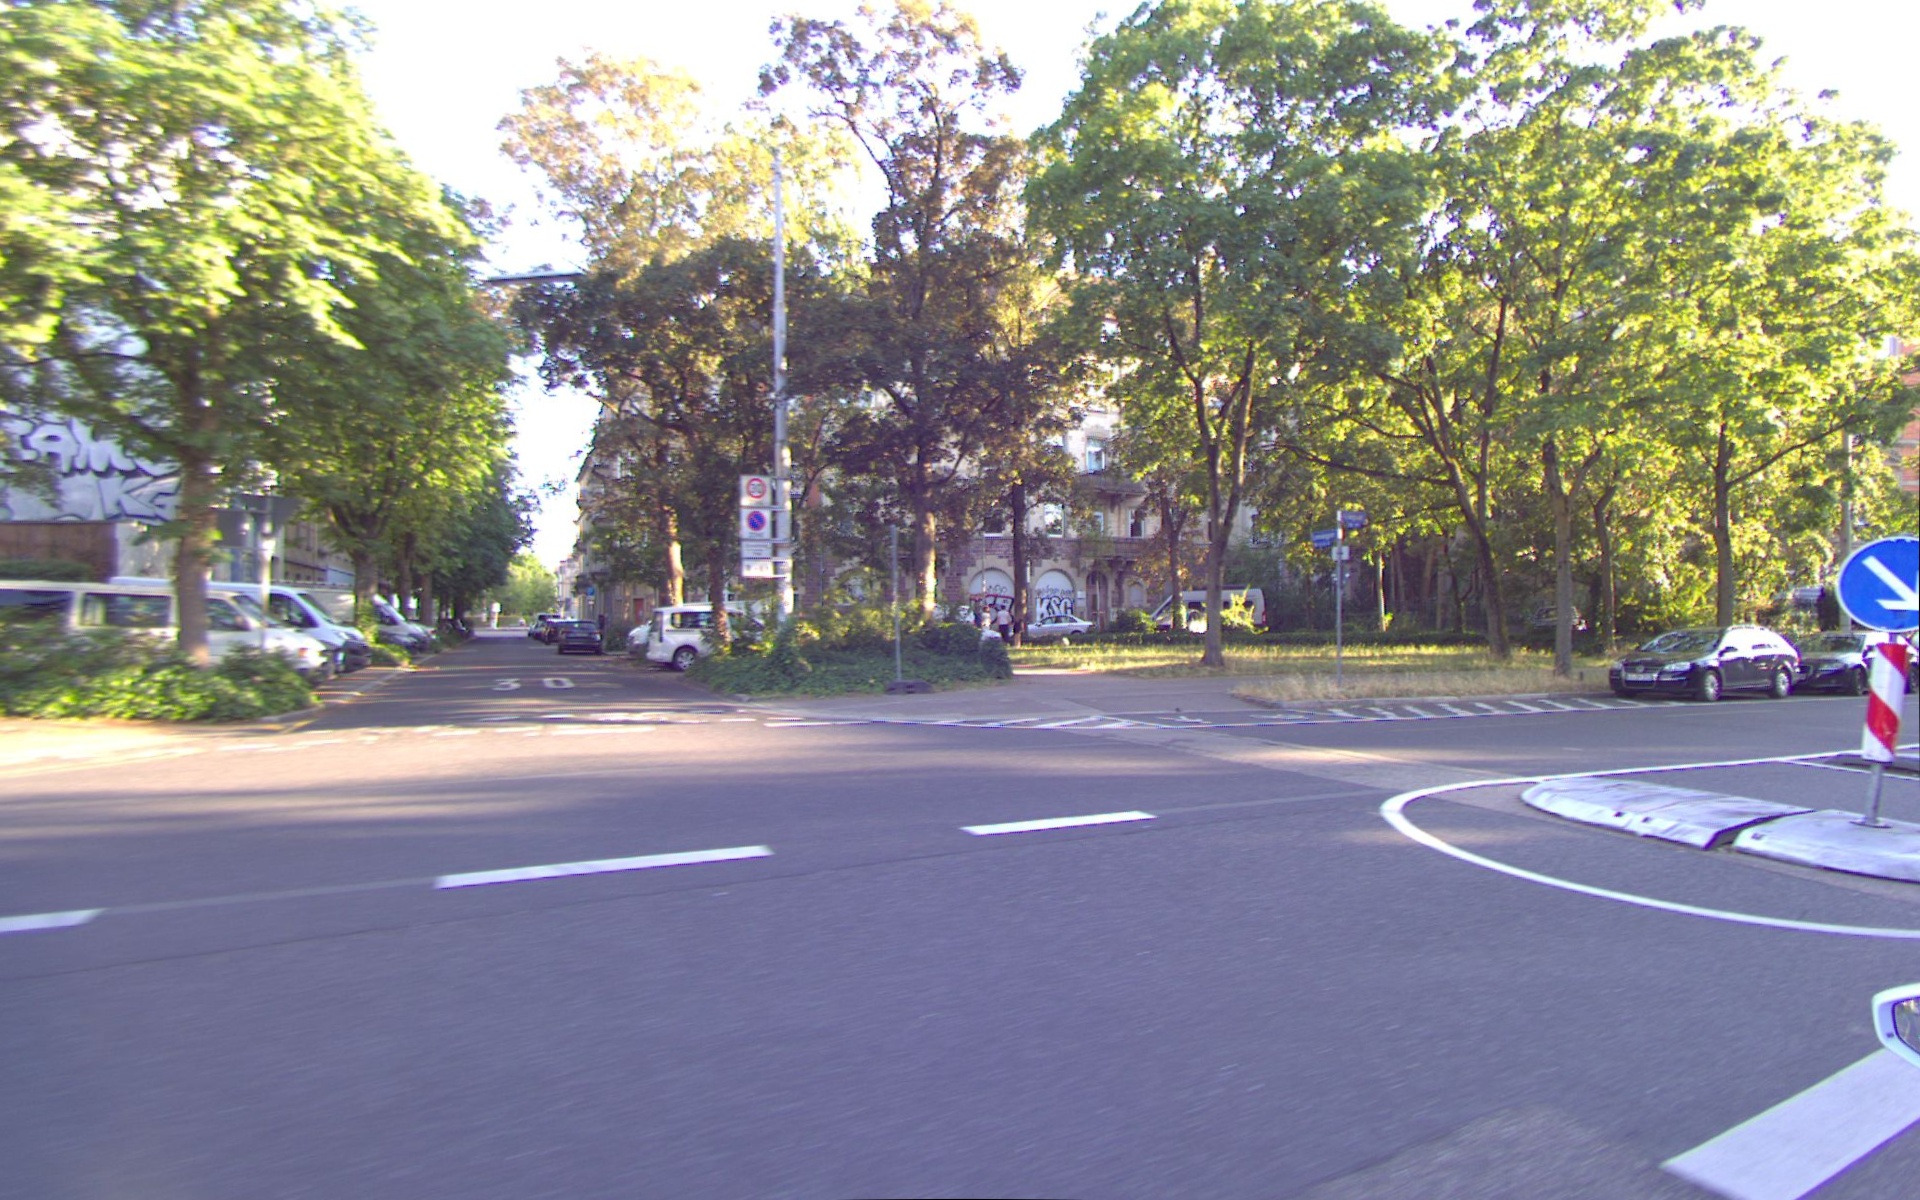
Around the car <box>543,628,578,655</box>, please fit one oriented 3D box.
[{"bbox_3d":[-25.948,2.665,65.175,1.971,1.619,4.716,1,-1,-23],"label":"car"}]

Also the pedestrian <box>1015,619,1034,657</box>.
[{"bbox_3d":[2.439,1.414,37.743,0.553,1.414,0.454,1,-1,-32],"label":"pedestrian"}]

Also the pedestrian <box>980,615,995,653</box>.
[{"bbox_3d":[1.044,1.293,38.348,0.547,1.414,0.458,0,-1,5],"label":"pedestrian"}]

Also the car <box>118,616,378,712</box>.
[{"bbox_3d":[-13.751,1.178,19.748,3.952,1.684,1.984,1,0,-30],"label":"car"}]

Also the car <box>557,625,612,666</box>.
[{"bbox_3d":[-15.980,1.914,42.930,1.969,1.619,4.723,1,-1,-18],"label":"car"}]

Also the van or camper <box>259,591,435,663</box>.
[{"bbox_3d":[-22.348,0.966,36.931,5.357,2.504,2.058,1,0,-27],"label":"van or camper"}]

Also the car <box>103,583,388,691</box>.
[{"bbox_3d":[-16.442,0.813,23.506,5.025,2.319,2.210,1,0,-23],"label":"car"}]

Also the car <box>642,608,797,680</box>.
[{"bbox_3d":[-6.932,1.222,28.980,3.952,1.907,1.984,1,1,-30],"label":"car"}]

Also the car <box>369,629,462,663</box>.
[{"bbox_3d":[-26.943,2.239,49.861,3.990,1.550,1.894,1,0,-27],"label":"car"}]

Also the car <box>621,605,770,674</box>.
[{"bbox_3d":[-9.167,1.323,34.923,4.683,2.218,1.985,1,1,-29],"label":"car"}]

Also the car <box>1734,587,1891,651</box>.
[{"bbox_3d":[38.224,0.854,45.150,5.205,2.775,2.127,0,-2,0],"label":"car"}]

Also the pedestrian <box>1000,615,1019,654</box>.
[{"bbox_3d":[1.861,1.283,37.595,0.553,1.414,0.454,1,-1,-32],"label":"pedestrian"}]

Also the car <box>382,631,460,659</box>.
[{"bbox_3d":[-32.015,2.667,59.815,3.990,1.550,1.894,1,0,-27],"label":"car"}]

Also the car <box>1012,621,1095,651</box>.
[{"bbox_3d":[4.615,1.727,49.150,3.919,1.416,1.896,0,-1,9],"label":"car"}]

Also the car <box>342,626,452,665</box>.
[{"bbox_3d":[-24.049,1.917,43.093,3.990,1.550,1.894,1,0,-27],"label":"car"}]

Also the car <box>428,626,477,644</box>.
[{"bbox_3d":[-46.387,3.222,91.876,3.990,1.550,1.894,1,0,-27],"label":"car"}]

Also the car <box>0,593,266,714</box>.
[{"bbox_3d":[-13.882,0.808,16.450,3.952,1.819,1.810,1,0,-30],"label":"car"}]

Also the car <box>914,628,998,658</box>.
[{"bbox_3d":[-0.149,2.118,49.837,3.919,1.416,1.896,0,-1,9],"label":"car"}]

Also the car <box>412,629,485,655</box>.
[{"bbox_3d":[-32.136,2.622,63.195,3.990,1.550,1.894,1,0,-27],"label":"car"}]

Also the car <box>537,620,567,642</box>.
[{"bbox_3d":[-30.950,2.352,76.146,1.971,1.619,4.716,1,-1,-23],"label":"car"}]

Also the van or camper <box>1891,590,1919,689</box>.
[{"bbox_3d":[27.374,1.014,26.468,6.222,2.501,2.084,1,-2,-26],"label":"van or camper"}]

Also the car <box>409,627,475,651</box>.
[{"bbox_3d":[-35.592,2.646,69.085,3.990,1.550,1.894,1,0,-27],"label":"car"}]

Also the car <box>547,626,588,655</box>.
[{"bbox_3d":[-22.928,2.338,58.845,1.969,1.619,4.723,1,-1,-18],"label":"car"}]

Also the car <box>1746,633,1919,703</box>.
[{"bbox_3d":[20.079,1.495,22.989,4.186,1.448,1.623,1,-2,-26],"label":"car"}]

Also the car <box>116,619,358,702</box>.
[{"bbox_3d":[-15.139,1.210,21.338,3.952,1.560,1.984,1,0,-30],"label":"car"}]

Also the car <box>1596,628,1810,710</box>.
[{"bbox_3d":[15.255,1.348,20.595,4.482,1.526,1.619,1,-1,-25],"label":"car"}]

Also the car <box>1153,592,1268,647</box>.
[{"bbox_3d":[11.843,0.931,47.801,5.128,2.518,2.275,0,-1,9],"label":"car"}]

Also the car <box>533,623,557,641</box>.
[{"bbox_3d":[-38.226,2.939,92.452,1.971,1.619,4.716,1,-1,-23],"label":"car"}]
